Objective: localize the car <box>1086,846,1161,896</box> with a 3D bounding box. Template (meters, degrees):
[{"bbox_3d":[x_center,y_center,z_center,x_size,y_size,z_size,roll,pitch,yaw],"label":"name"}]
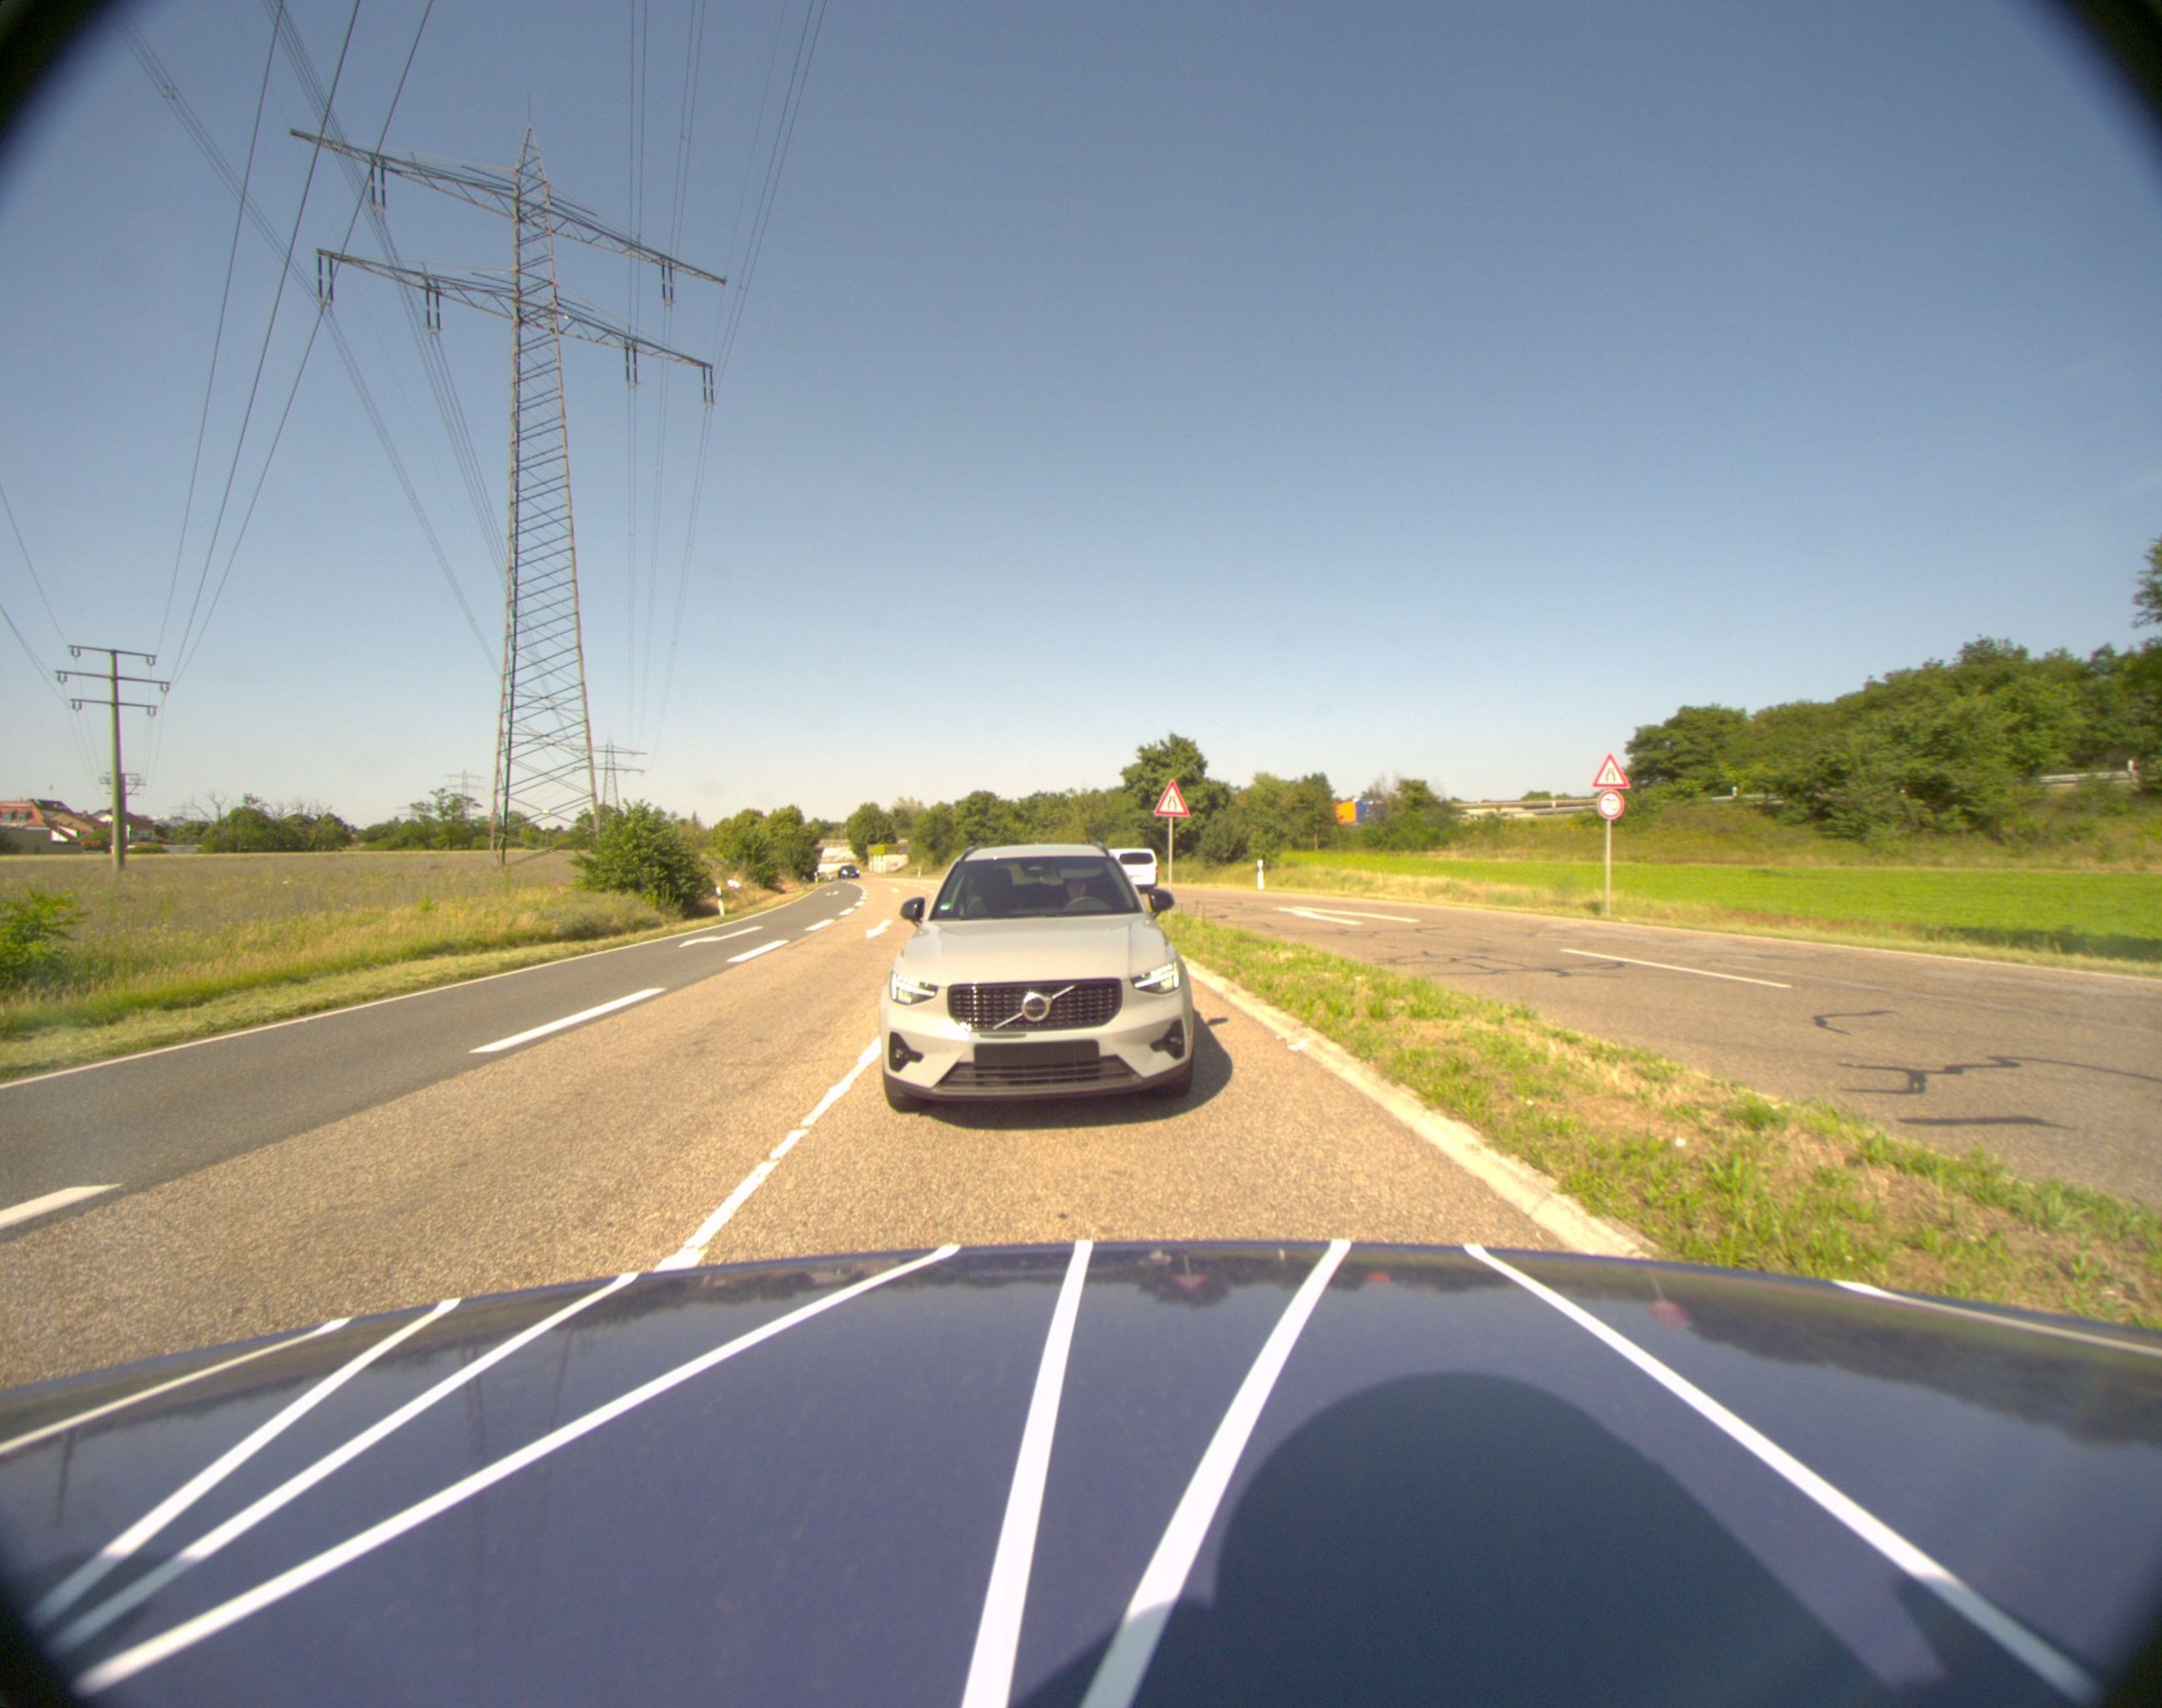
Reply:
[{"bbox_3d":[1.719,0.699,32.608,2.000,1.907,4.943,-2,0,-11],"label":"car"}]

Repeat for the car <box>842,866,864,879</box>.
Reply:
[{"bbox_3d":[-26.766,2.101,89.184,1.901,1.344,3.527,-3,1,-24],"label":"car"}]

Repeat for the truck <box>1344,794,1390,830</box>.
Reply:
[{"bbox_3d":[34.112,-5.023,90.775,2.565,3.953,4.657,-3,1,-21],"label":"truck"}]

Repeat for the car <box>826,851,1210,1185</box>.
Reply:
[{"bbox_3d":[-0.288,0.827,5.608,1.859,1.609,3.647,-2,0,1],"label":"car"}]

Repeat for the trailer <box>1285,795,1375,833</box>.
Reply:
[{"bbox_3d":[31.522,-4.980,97.310,2.580,3.936,13.847,-3,1,-22],"label":"trailer"}]
